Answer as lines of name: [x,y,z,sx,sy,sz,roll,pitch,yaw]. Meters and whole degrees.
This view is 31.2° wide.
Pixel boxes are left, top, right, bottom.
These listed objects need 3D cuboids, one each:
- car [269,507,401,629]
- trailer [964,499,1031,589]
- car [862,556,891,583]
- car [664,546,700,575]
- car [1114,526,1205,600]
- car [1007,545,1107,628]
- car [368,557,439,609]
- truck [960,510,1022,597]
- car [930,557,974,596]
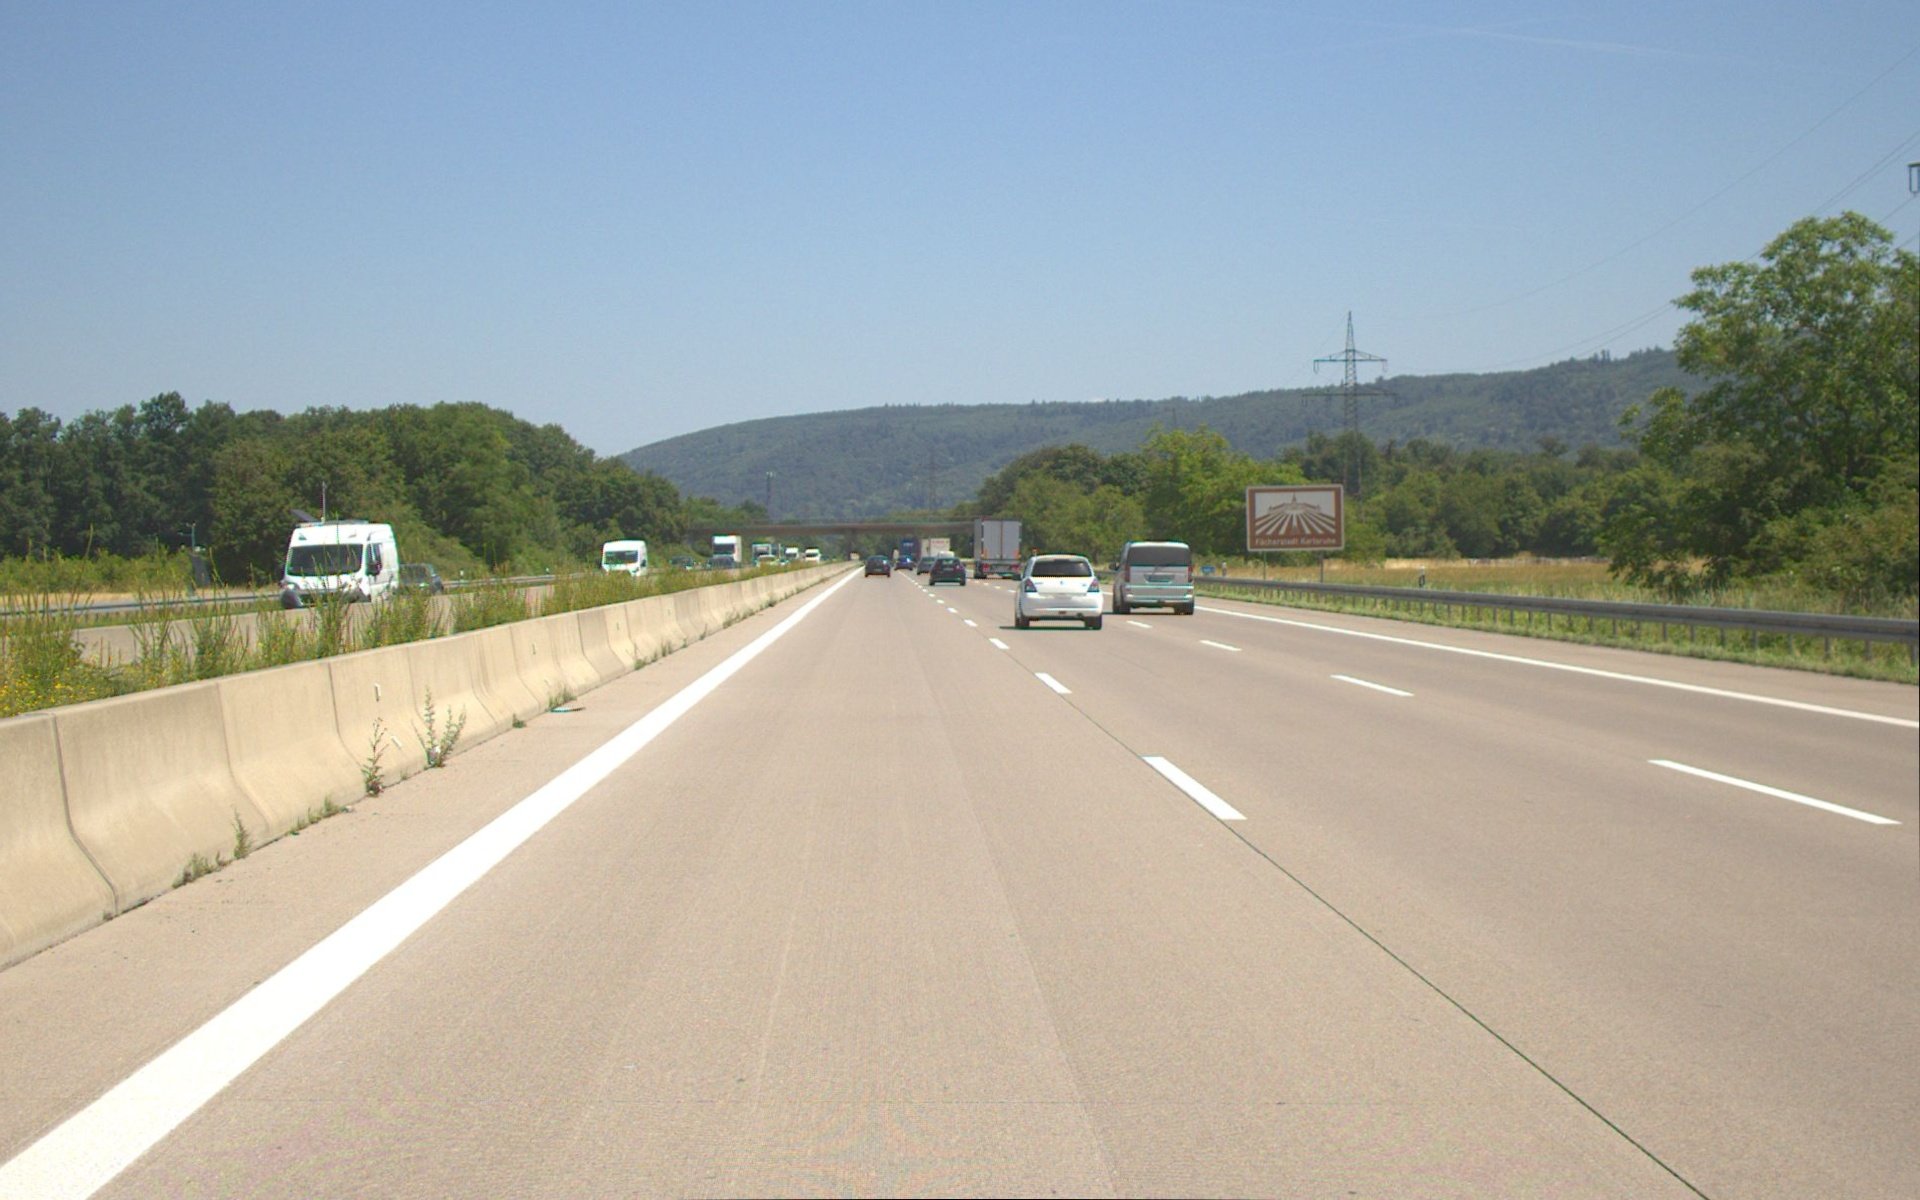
car: [-14.985,-0.790,82.825,2.263,2.779,7.072,1,1,-3]
trailer: [2.436,-3.728,228.985,3.720,5.791,12.163,1,1,-3]
car: [-5.712,-2.115,234.667,1.928,1.787,4.000,1,1,-2]
car: [-18.505,-2.629,229.079,1.993,1.908,4.402,1,1,0]
car: [5.188,-0.975,90.005,1.993,1.842,4.000,1,1,-2]
car: [1.972,-0.307,71.136,1.819,1.656,4.000,0,1,-2]
car: [-19.101,-0.606,118.192,1.753,1.678,4.842,1,1,-2]
truck: [2.103,-3.187,235.097,3.720,5.791,7.054,1,1,-3]
car: [-0.407,-1.182,173.091,1.993,1.842,4.001,3,1,-3]
